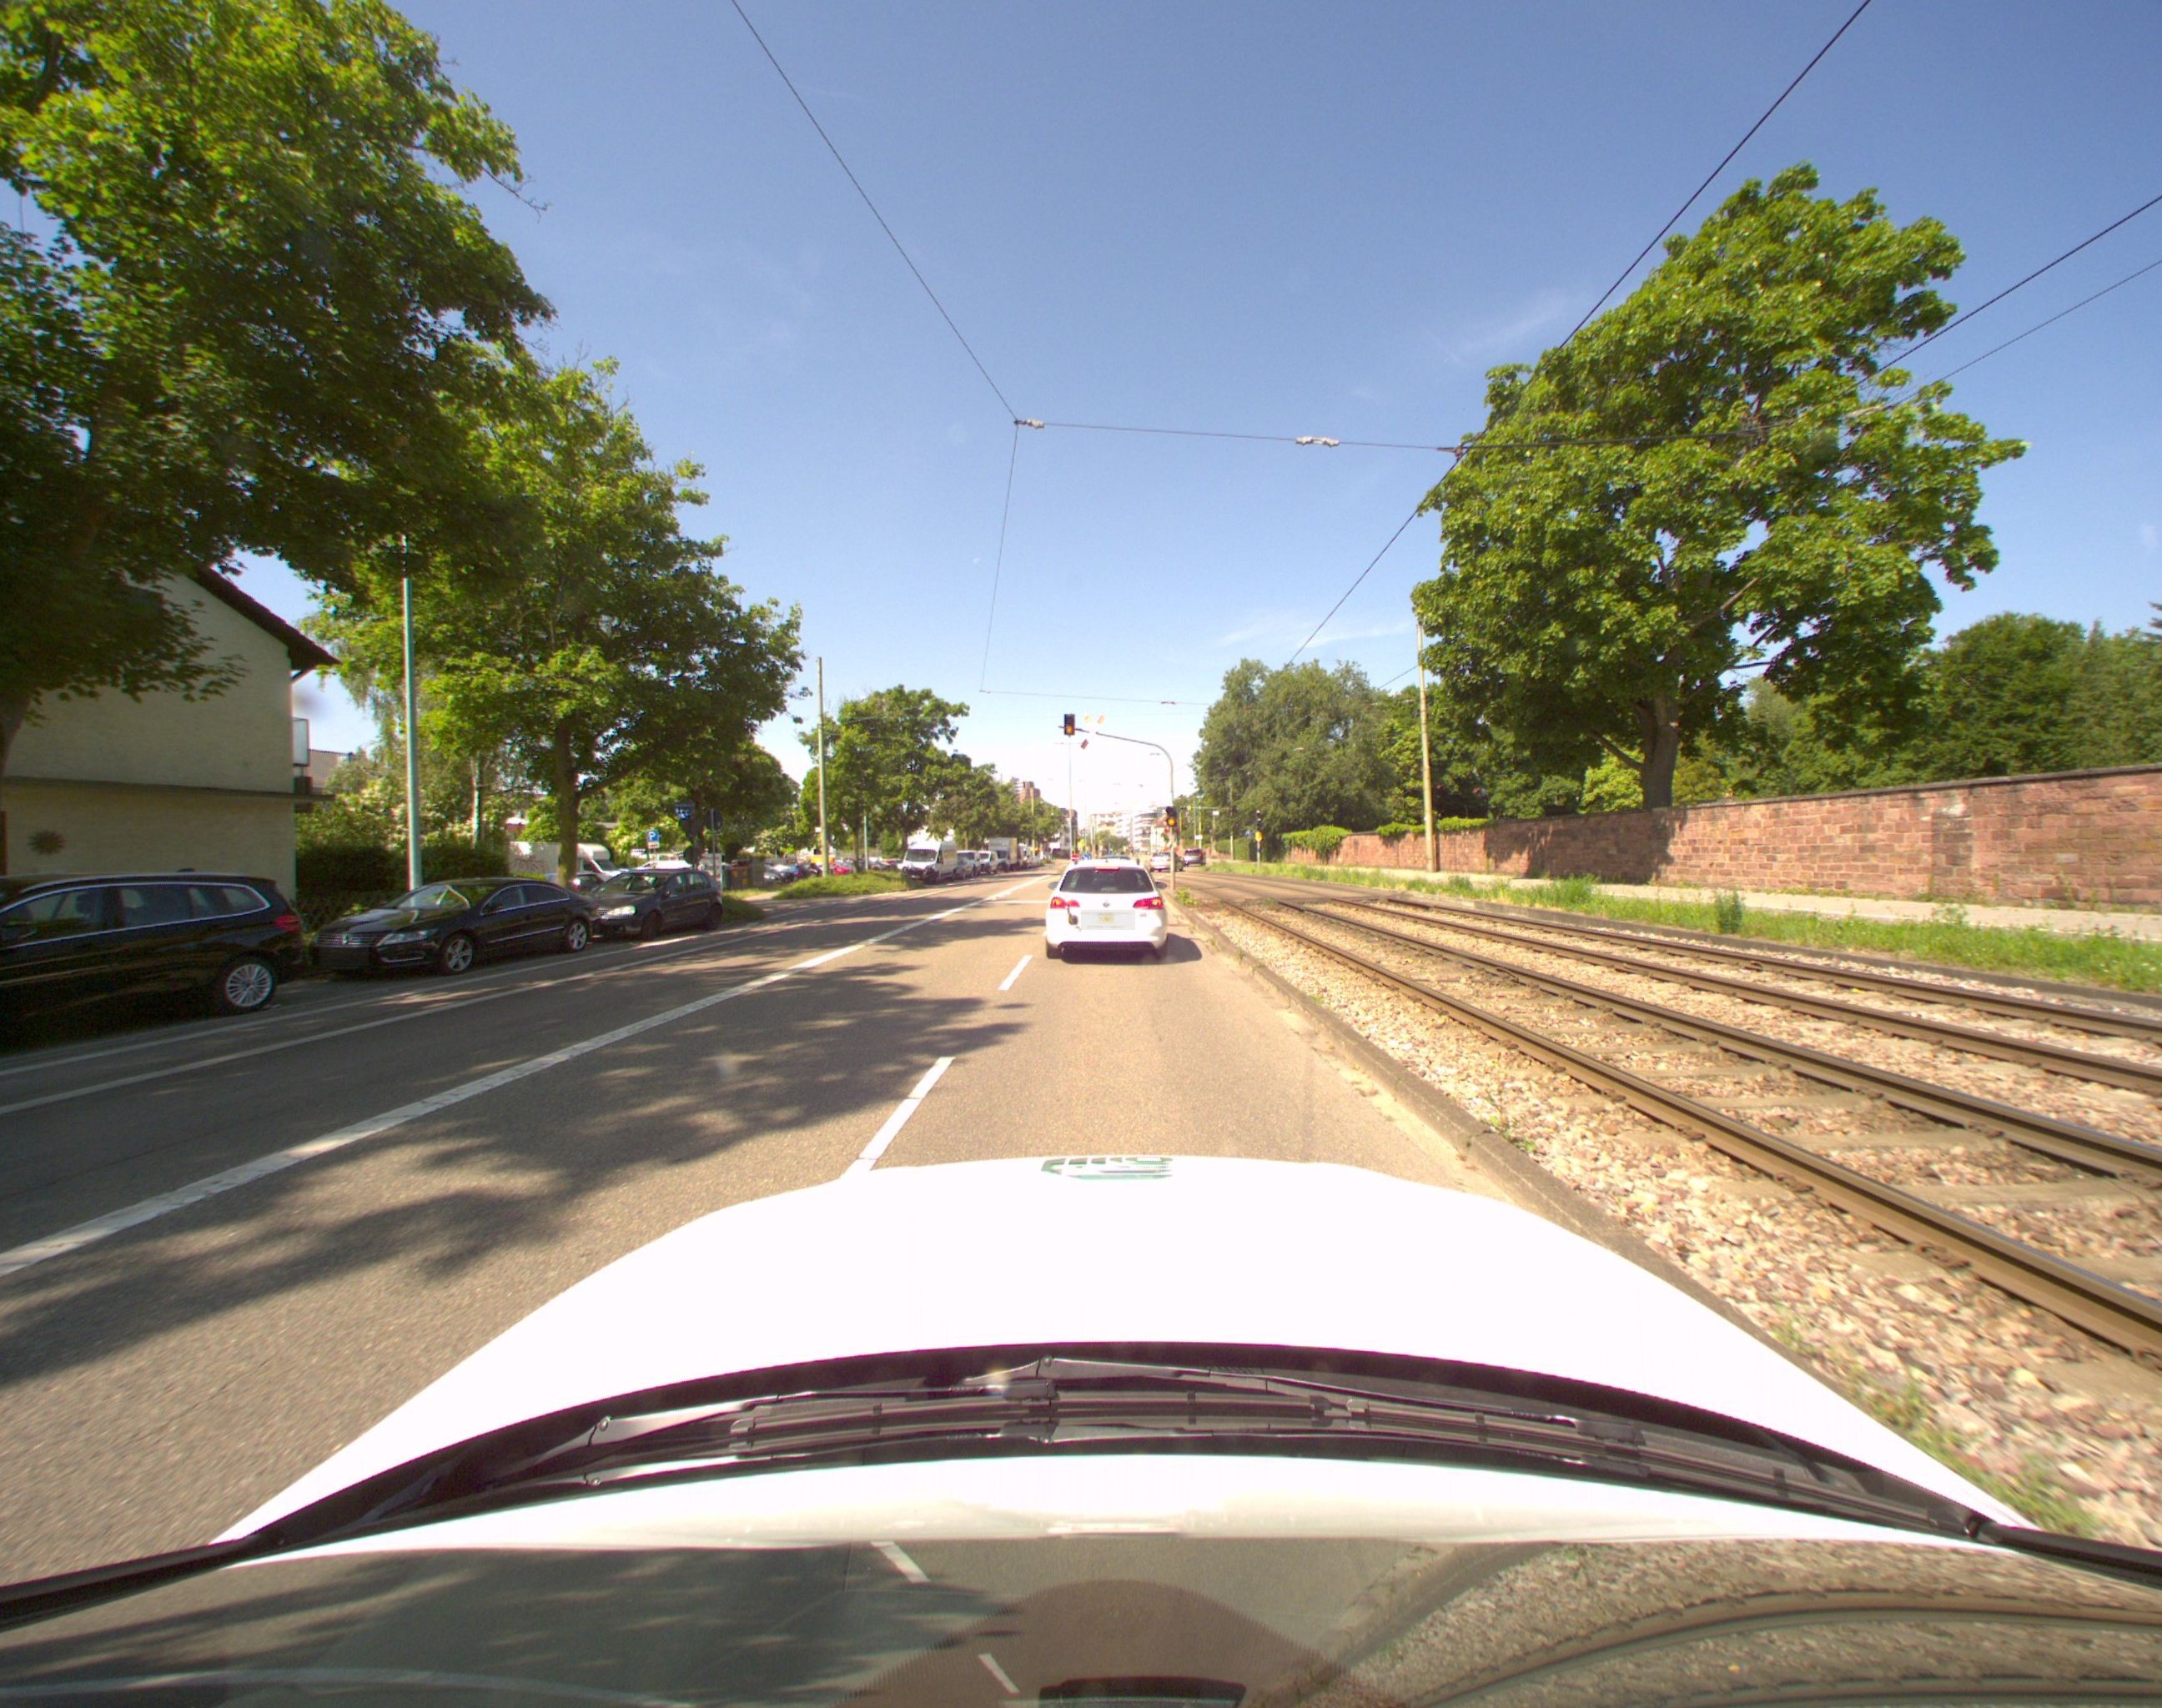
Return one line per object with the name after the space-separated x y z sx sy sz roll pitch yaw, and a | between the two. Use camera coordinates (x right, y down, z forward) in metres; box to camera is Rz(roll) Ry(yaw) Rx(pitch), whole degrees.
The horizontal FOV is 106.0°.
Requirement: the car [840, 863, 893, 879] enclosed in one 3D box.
-18.435 1.428 70.078 3.968 1.225 1.774 -2 0 4 | car

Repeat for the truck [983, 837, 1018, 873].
-7.492 0.108 76.462 2.347 3.122 6.893 -2 0 1 | truck

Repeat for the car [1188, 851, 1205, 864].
12.329 0.360 87.133 1.736 1.407 3.921 1 0 7 | car

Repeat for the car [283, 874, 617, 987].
-10.026 1.111 13.569 1.684 1.379 4.784 1 0 2 | car

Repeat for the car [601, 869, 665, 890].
-32.054 1.821 58.271 3.754 1.356 1.560 2 0 6 | car

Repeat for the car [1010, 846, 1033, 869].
-6.709 0.358 92.642 1.836 2.494 5.860 -2 0 3 | car

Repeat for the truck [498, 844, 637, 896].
-31.801 0.957 50.592 7.118 3.019 2.231 1 0 0 | truck

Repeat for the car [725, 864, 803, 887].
-19.166 1.293 49.390 3.973 1.225 1.771 -2 0 0 | car

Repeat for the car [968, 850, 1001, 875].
-7.997 0.663 67.866 1.836 1.960 5.137 -2 0 3 | car

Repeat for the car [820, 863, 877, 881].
-18.695 1.449 65.627 3.968 1.225 1.774 -2 0 4 | car

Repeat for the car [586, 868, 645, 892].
-31.856 1.770 55.738 3.117 1.432 1.560 1 0 6 | car

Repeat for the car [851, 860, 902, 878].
-18.210 1.320 72.710 3.968 1.402 1.774 -2 0 4 | car

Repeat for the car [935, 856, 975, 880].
-8.421 0.902 54.661 1.836 1.516 4.199 -2 0 2 | car

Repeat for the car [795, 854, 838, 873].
-30.345 1.090 93.610 4.248 2.014 1.997 1 -1 -4 | car

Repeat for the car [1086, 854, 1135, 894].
1.189 0.724 31.077 1.738 1.388 3.917 0 0 4 | car

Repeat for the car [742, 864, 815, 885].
-19.340 1.306 52.156 3.968 1.225 1.774 -2 0 4 | car

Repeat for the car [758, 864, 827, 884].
-19.579 1.343 55.356 3.968 1.225 1.774 -2 0 4 | car

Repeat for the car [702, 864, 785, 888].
-19.363 1.251 46.871 3.973 1.225 1.771 -2 0 0 | car

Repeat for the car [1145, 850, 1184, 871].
5.917 0.430 57.375 1.846 1.416 4.345 1 0 18 | car

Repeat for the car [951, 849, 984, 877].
-8.521 0.670 61.331 1.838 1.937 5.190 -2 0 -2 | car

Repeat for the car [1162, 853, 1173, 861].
14.536 0.455 136.353 1.575 1.346 3.455 1 -1 2 | car

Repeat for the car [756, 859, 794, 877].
-33.288 1.537 88.588 3.411 1.876 1.552 -2 0 0 | car

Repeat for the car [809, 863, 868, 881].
-18.754 1.412 63.051 3.968 1.225 1.774 -2 0 4 | car

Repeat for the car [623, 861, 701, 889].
-31.223 1.585 60.792 4.682 2.014 1.998 1 -1 -3 | car

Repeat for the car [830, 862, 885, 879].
-18.642 1.390 67.963 3.968 1.225 1.774 -2 0 4 | car

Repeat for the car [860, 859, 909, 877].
-18.151 1.298 75.214 3.968 1.444 1.774 -2 0 4 | car

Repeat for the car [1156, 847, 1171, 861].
16.012 0.013 158.602 2.453 2.499 5.913 1 -1 2 | car

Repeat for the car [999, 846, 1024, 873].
-7.131 0.513 83.926 1.836 2.668 5.007 -2 0 3 | car

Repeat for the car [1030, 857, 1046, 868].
-5.859 1.181 112.391 1.773 1.433 4.040 -2 0 2 | car

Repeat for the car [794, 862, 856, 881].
-18.959 1.312 60.459 3.968 1.264 1.774 -2 0 4 | car

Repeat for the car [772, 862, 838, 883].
-19.624 1.284 57.982 3.968 1.350 1.774 -2 0 4 | car

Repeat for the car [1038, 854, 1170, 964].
0.367 0.745 12.910 1.761 1.446 3.914 1 0 1 | car

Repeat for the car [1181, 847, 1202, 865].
10.109 0.172 74.866 1.851 1.513 3.920 1 0 6 | car

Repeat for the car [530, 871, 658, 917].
-19.193 1.552 32.186 3.885 1.407 1.753 -5 1 2 | car

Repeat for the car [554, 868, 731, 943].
-9.709 1.070 18.412 1.634 1.450 4.007 1 0 3 | car

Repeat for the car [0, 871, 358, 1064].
-10.289 1.038 8.060 1.755 1.606 4.896 -1 0 2 | car

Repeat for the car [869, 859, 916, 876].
-17.967 1.285 77.756 3.968 1.444 1.774 -2 0 4 | car

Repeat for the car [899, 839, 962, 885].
-8.843 0.422 48.444 2.049 2.501 6.316 1 0 5 | car
